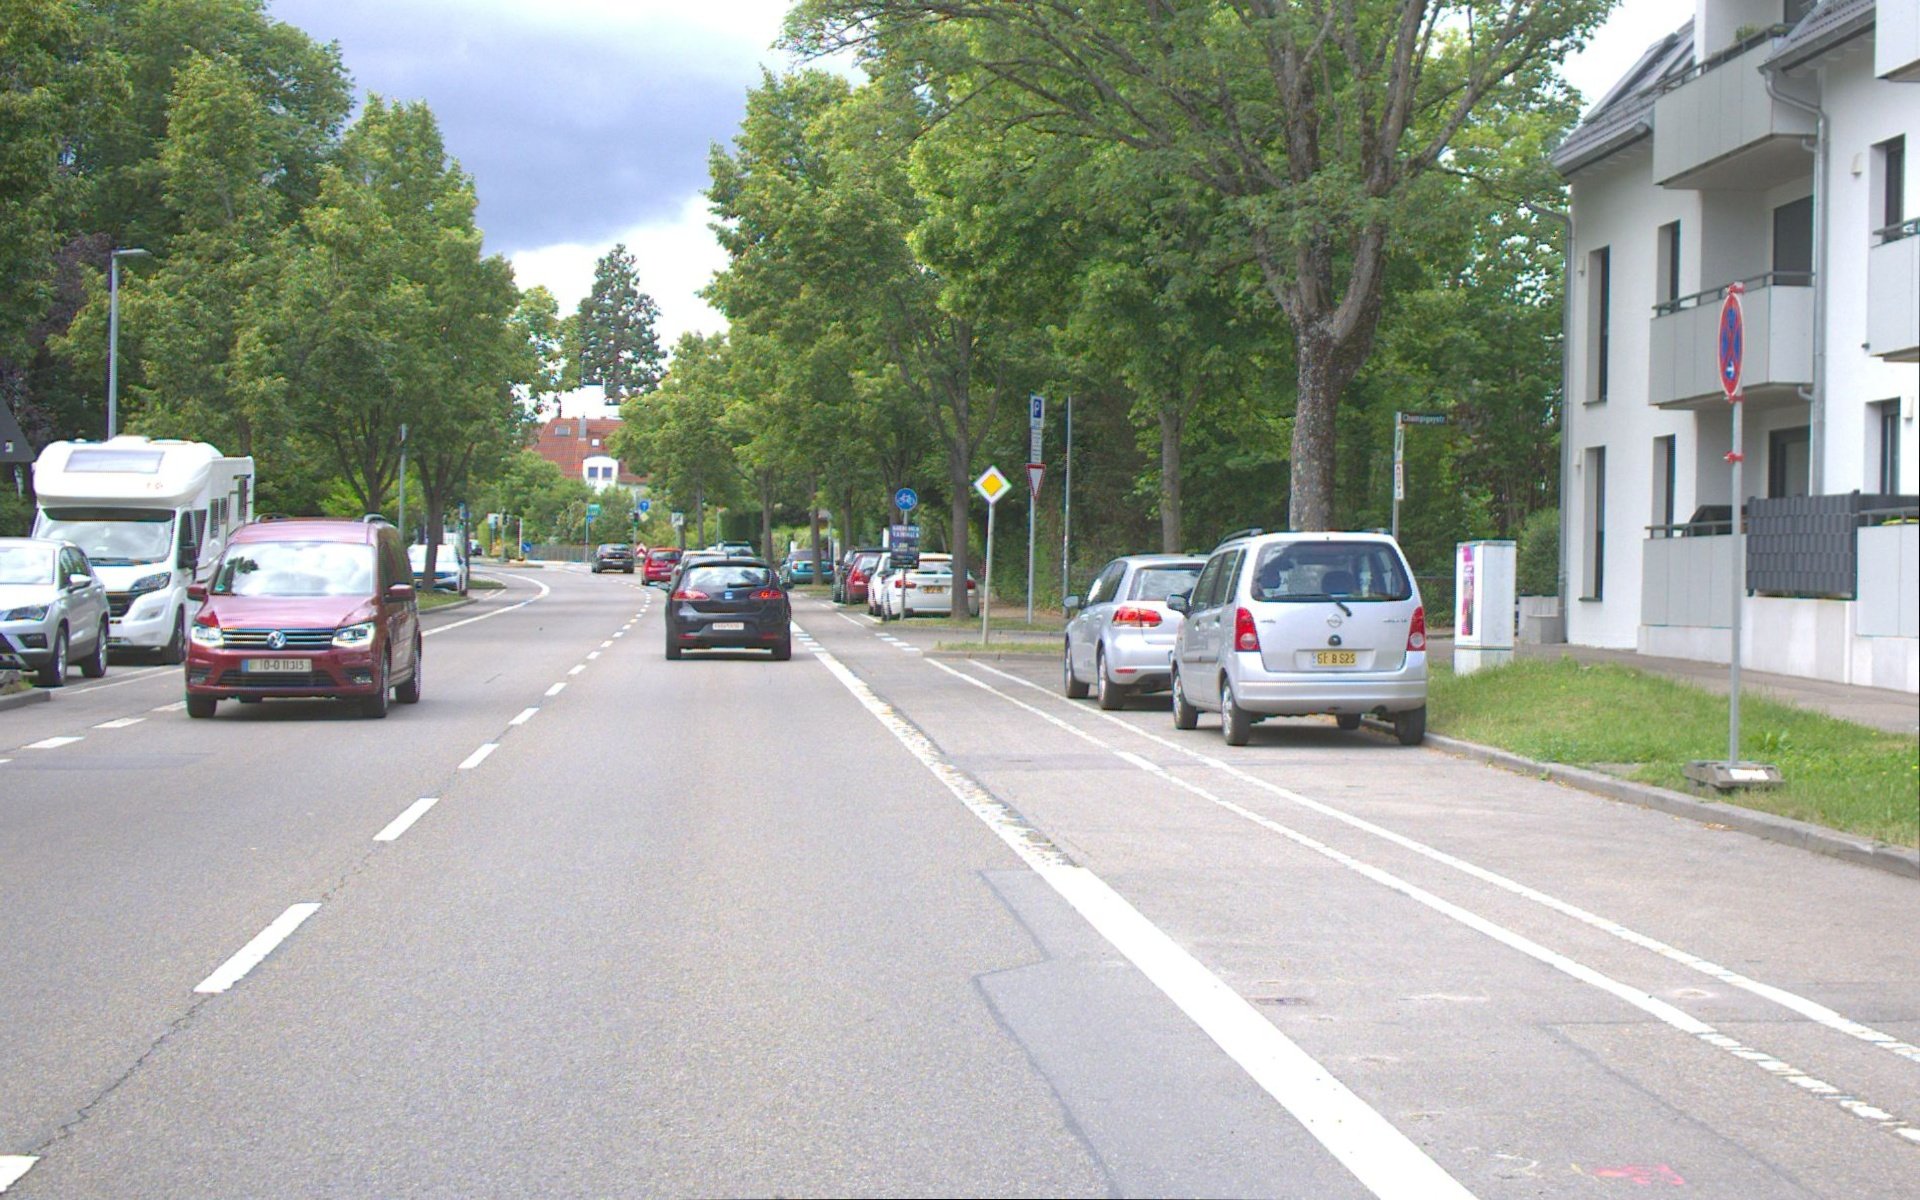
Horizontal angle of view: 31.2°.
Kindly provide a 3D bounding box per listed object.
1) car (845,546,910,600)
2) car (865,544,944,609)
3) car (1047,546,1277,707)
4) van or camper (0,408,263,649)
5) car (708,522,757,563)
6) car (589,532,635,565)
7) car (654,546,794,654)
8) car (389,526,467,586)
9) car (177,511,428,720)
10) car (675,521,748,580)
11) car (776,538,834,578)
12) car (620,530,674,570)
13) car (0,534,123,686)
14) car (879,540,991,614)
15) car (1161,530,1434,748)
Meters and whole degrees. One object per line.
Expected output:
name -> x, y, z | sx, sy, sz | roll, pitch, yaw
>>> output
car -> -2.212, -0.732, 91.788 | 1.638, 1.415, 4.001 | 0, 1, -3
car -> -1.306, -0.562, 79.925 | 1.615, 1.455, 3.658 | 0, 1, -4
car -> 1.922, 0.215, 33.876 | 1.687, 1.488, 4.228 | 0, 1, -5
van or camper -> -11.257, -0.955, 46.901 | 2.435, 2.999, 7.694 | 0, 1, -4
car -> -10.197, -2.572, 153.959 | 1.788, 1.765, 3.983 | 0, 1, -9
car -> -16.905, -2.494, 166.792 | 1.993, 1.503, 4.001 | 1, 0, -9
car -> -3.322, -0.020, 47.929 | 1.783, 1.444, 3.559 | 0, 1, -6
car -> -15.401, -1.284, 99.704 | 1.873, 1.682, 4.867 | 0, 1, -4
car -> -6.041, 0.100, 32.056 | 1.760, 1.797, 4.770 | 0, 1, -4
car -> -7.041, -1.411, 97.073 | 1.993, 1.552, 4.001 | 0, 2, -5
car -> -5.730, -1.570, 126.638 | 1.682, 1.427, 4.045 | 0, 1, -9
car -> -12.132, -1.930, 133.081 | 1.993, 1.525, 4.001 | 0, 1, -6
car -> -10.560, 0.064, 38.207 | 1.722, 1.595, 4.273 | 1, 1, -4
car -> -0.566, -0.507, 71.518 | 2.020, 1.438, 5.026 | 1, 1, -4
car -> 2.687, 0.274, 28.099 | 1.632, 1.660, 3.648 | 0, 1, -4
